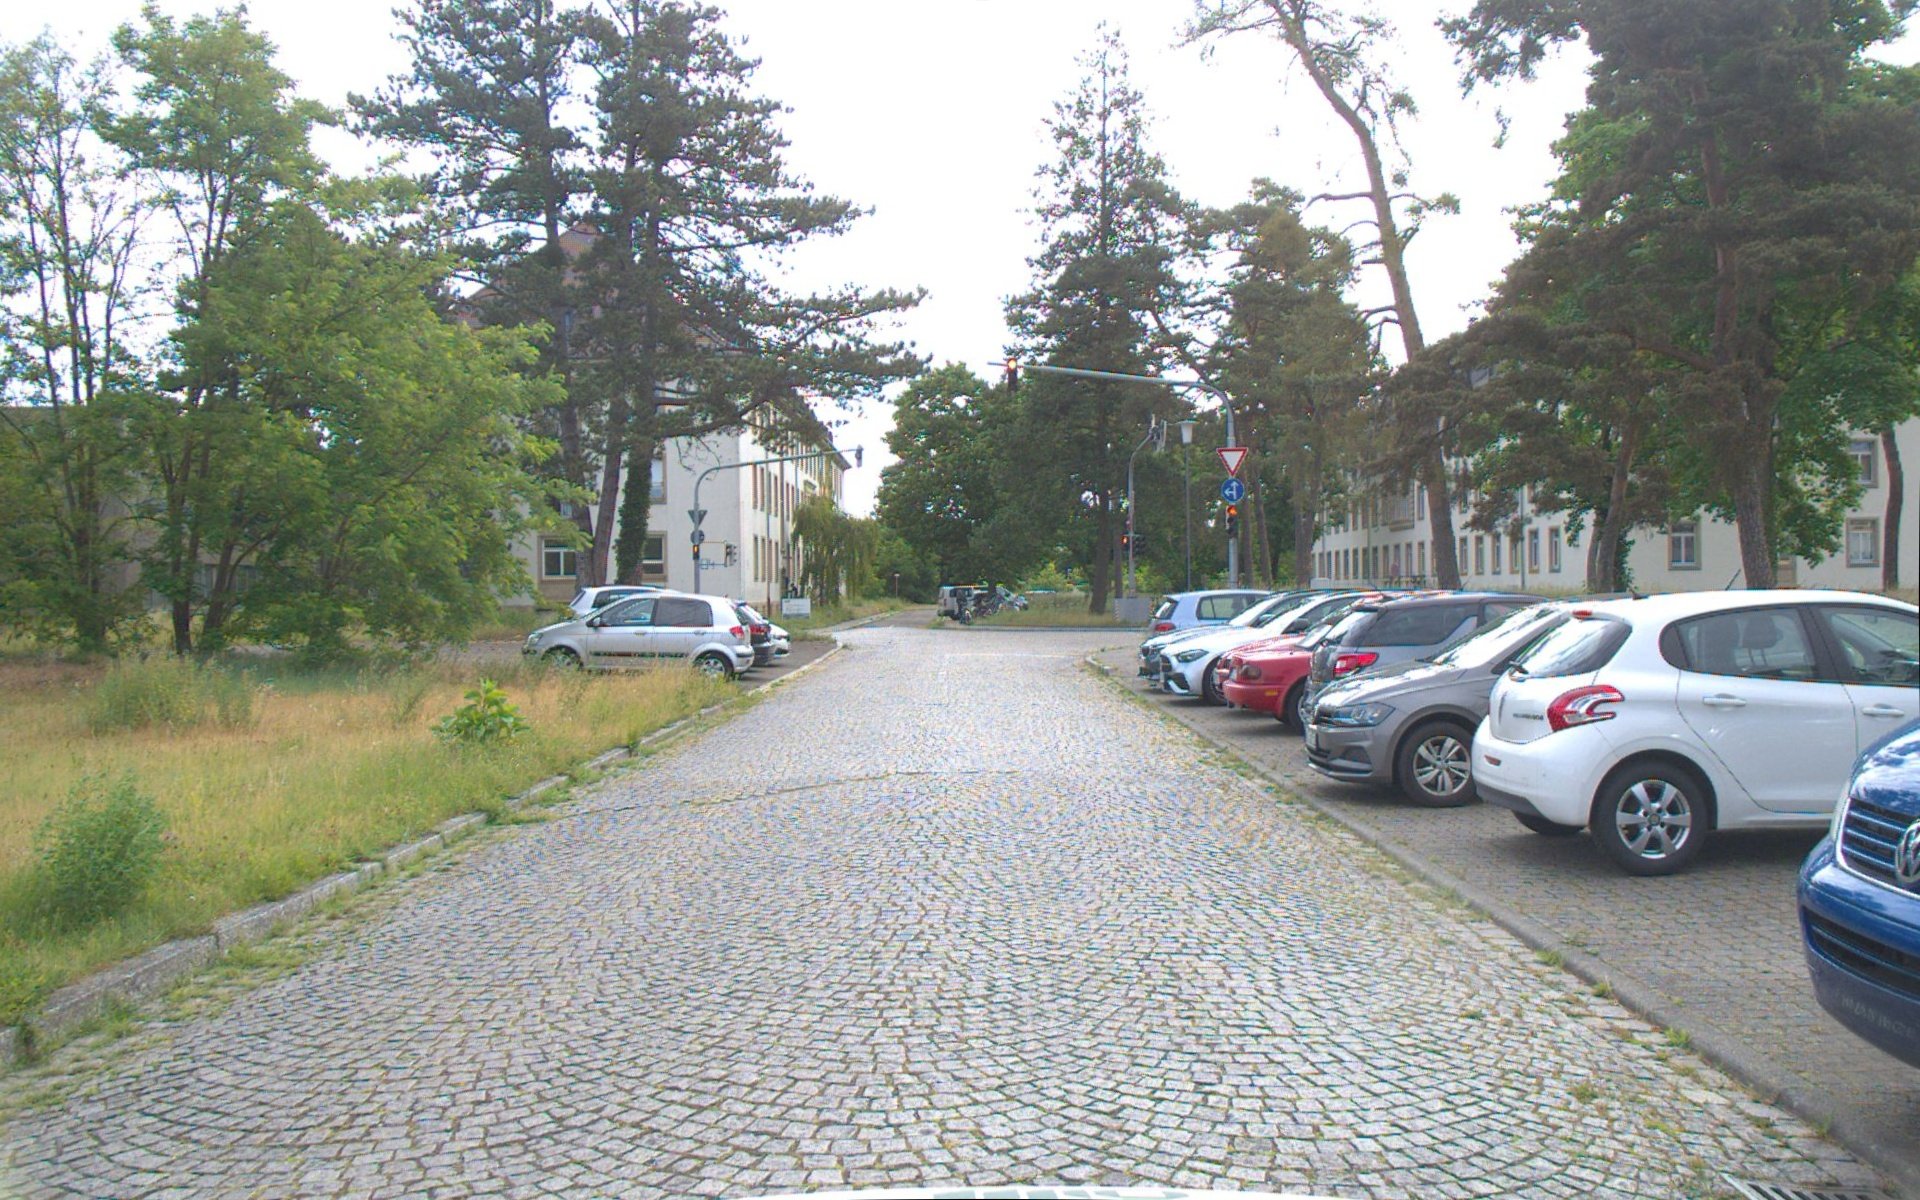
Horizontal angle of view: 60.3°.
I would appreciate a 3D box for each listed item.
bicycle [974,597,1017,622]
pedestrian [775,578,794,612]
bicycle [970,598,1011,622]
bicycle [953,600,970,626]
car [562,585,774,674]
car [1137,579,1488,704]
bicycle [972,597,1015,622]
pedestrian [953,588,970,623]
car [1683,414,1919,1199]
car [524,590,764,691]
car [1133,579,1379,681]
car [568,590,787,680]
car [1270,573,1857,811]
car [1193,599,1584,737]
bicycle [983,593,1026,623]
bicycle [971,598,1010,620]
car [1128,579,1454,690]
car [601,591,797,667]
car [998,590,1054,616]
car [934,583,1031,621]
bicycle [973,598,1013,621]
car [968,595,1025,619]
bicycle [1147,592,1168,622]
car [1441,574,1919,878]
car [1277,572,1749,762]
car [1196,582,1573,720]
[{"bbox_3d":[1.637,0.436,76.843,1.918,1.152,0.587,-1,0,-7],"label":"bicycle"},{"bbox_3d":[-9.815,-0.262,92.547,0.766,1.869,0.733,-1,0,-31],"label":"pedestrian"},{"bbox_3d":[1.471,0.479,78.959,1.934,1.088,0.582,-1,0,-30],"label":"bicycle"},{"bbox_3d":[0.064,0.569,73.642,0.591,1.152,1.959,-1,0,-5],"label":"bicycle"},{"bbox_3d":[-5.684,0.565,32.547,3.869,1.590,1.649,2,0,-3],"label":"car"},{"bbox_3d":[4.818,0.541,22.870,4.341,1.441,1.867,-3,0,-9],"label":"car"},{"bbox_3d":[1.575,0.459,77.476,1.918,1.136,0.587,-1,0,-7],"label":"bicycle"},{"bbox_3d":[0.061,0.256,77.189,0.723,1.647,0.776,-1,0,-2],"label":"pedestrian"},{"bbox_3d":[4.747,0.421,4.406,4.710,1.979,2.003,-3,0,-1],"label":"car"},{"bbox_3d":[-5.122,0.648,27.172,3.629,1.505,1.581,2,0,-3],"label":"car"},{"bbox_3d":[4.955,0.486,28.009,3.846,1.503,1.643,-3,0,1],"label":"car"},{"bbox_3d":[-5.025,0.613,29.770,3.671,1.453,1.581,2,0,-3],"label":"car"},{"bbox_3d":[4.473,0.637,12.618,3.786,1.497,1.757,-3,0,-4],"label":"car"},{"bbox_3d":[4.600,0.707,18.131,3.784,1.257,1.758,-3,0,-1],"label":"car"},{"bbox_3d":[2.104,0.368,78.309,1.918,1.408,0.587,-1,0,-7],"label":"bicycle"},{"bbox_3d":[1.540,0.451,83.996,1.930,1.088,0.583,-1,0,-25],"label":"bicycle"},{"bbox_3d":[5.029,0.504,25.558,4.587,1.441,1.870,-3,0,-2],"label":"car"},{"bbox_3d":[-5.489,0.595,35.091,3.867,1.446,1.650,2,0,-1],"label":"car"},{"bbox_3d":[3.941,0.176,98.815,3.167,1.441,1.724,-1,0,-3],"label":"car"},{"bbox_3d":[1.263,0.108,94.927,5.262,1.958,2.021,-2,0,-9],"label":"car"},{"bbox_3d":[1.619,0.475,80.310,1.934,1.088,0.582,-1,0,-30],"label":"bicycle"},{"bbox_3d":[2.011,0.390,91.552,2.948,1.290,1.533,-1,0,-6],"label":"car"},{"bbox_3d":[7.708,0.263,64.751,0.574,1.125,1.961,-1,0,0],"label":"bicycle"},{"bbox_3d":[5.018,0.643,9.774,3.784,1.497,1.758,-3,0,-1],"label":"car"},{"bbox_3d":[5.062,0.583,15.491,3.784,1.497,1.758,-3,0,-1],"label":"car"},{"bbox_3d":[5.183,0.597,20.603,4.175,1.441,1.871,-3,0,0],"label":"car"}]
